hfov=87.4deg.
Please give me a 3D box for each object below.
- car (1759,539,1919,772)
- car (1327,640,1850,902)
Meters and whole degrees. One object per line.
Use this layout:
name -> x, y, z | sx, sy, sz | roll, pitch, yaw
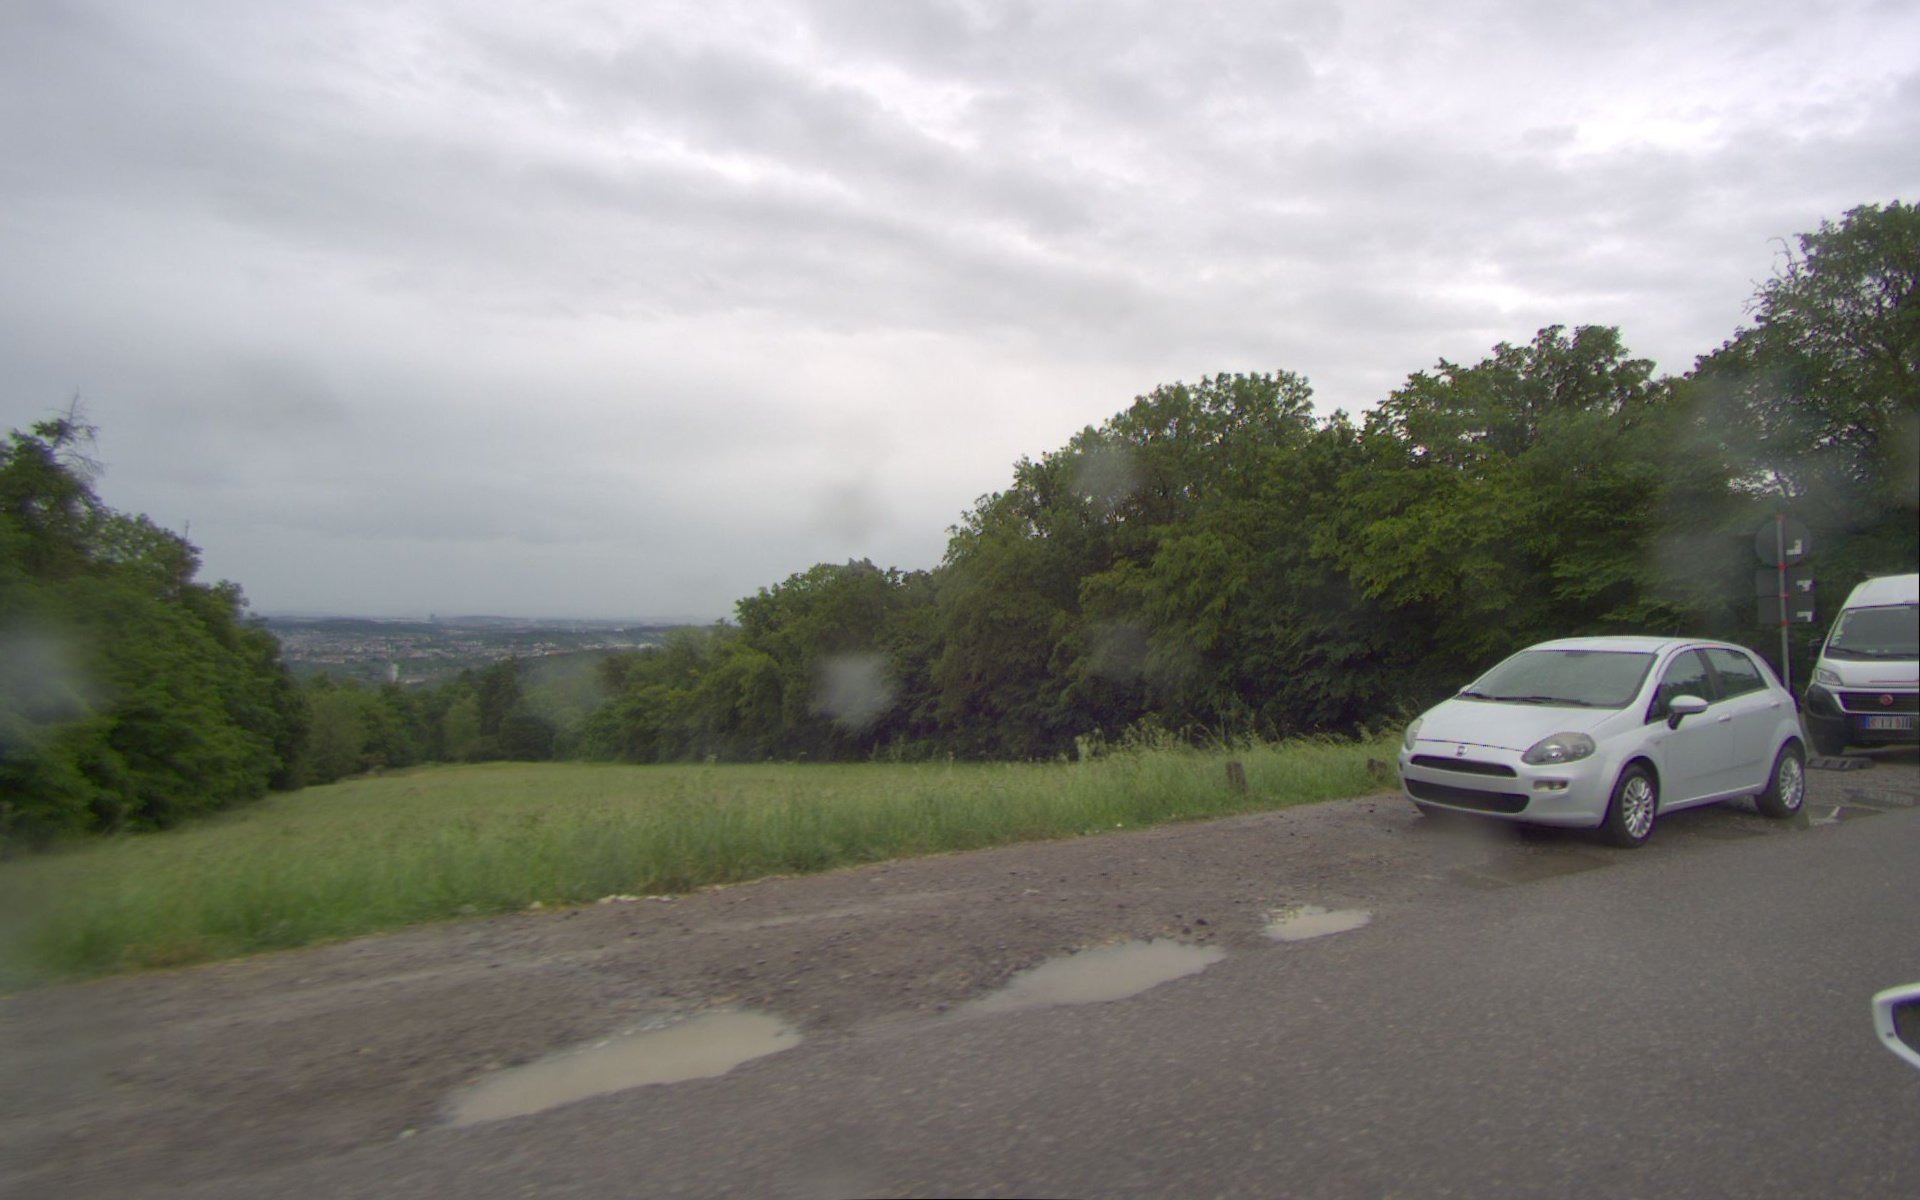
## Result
car -> 13.642, 0.686, 13.674 | 5.978, 2.732, 2.262 | 0, -4, -31
car -> 5.341, 1.190, 8.415 | 4.442, 1.616, 1.853 | 0, -3, -31
